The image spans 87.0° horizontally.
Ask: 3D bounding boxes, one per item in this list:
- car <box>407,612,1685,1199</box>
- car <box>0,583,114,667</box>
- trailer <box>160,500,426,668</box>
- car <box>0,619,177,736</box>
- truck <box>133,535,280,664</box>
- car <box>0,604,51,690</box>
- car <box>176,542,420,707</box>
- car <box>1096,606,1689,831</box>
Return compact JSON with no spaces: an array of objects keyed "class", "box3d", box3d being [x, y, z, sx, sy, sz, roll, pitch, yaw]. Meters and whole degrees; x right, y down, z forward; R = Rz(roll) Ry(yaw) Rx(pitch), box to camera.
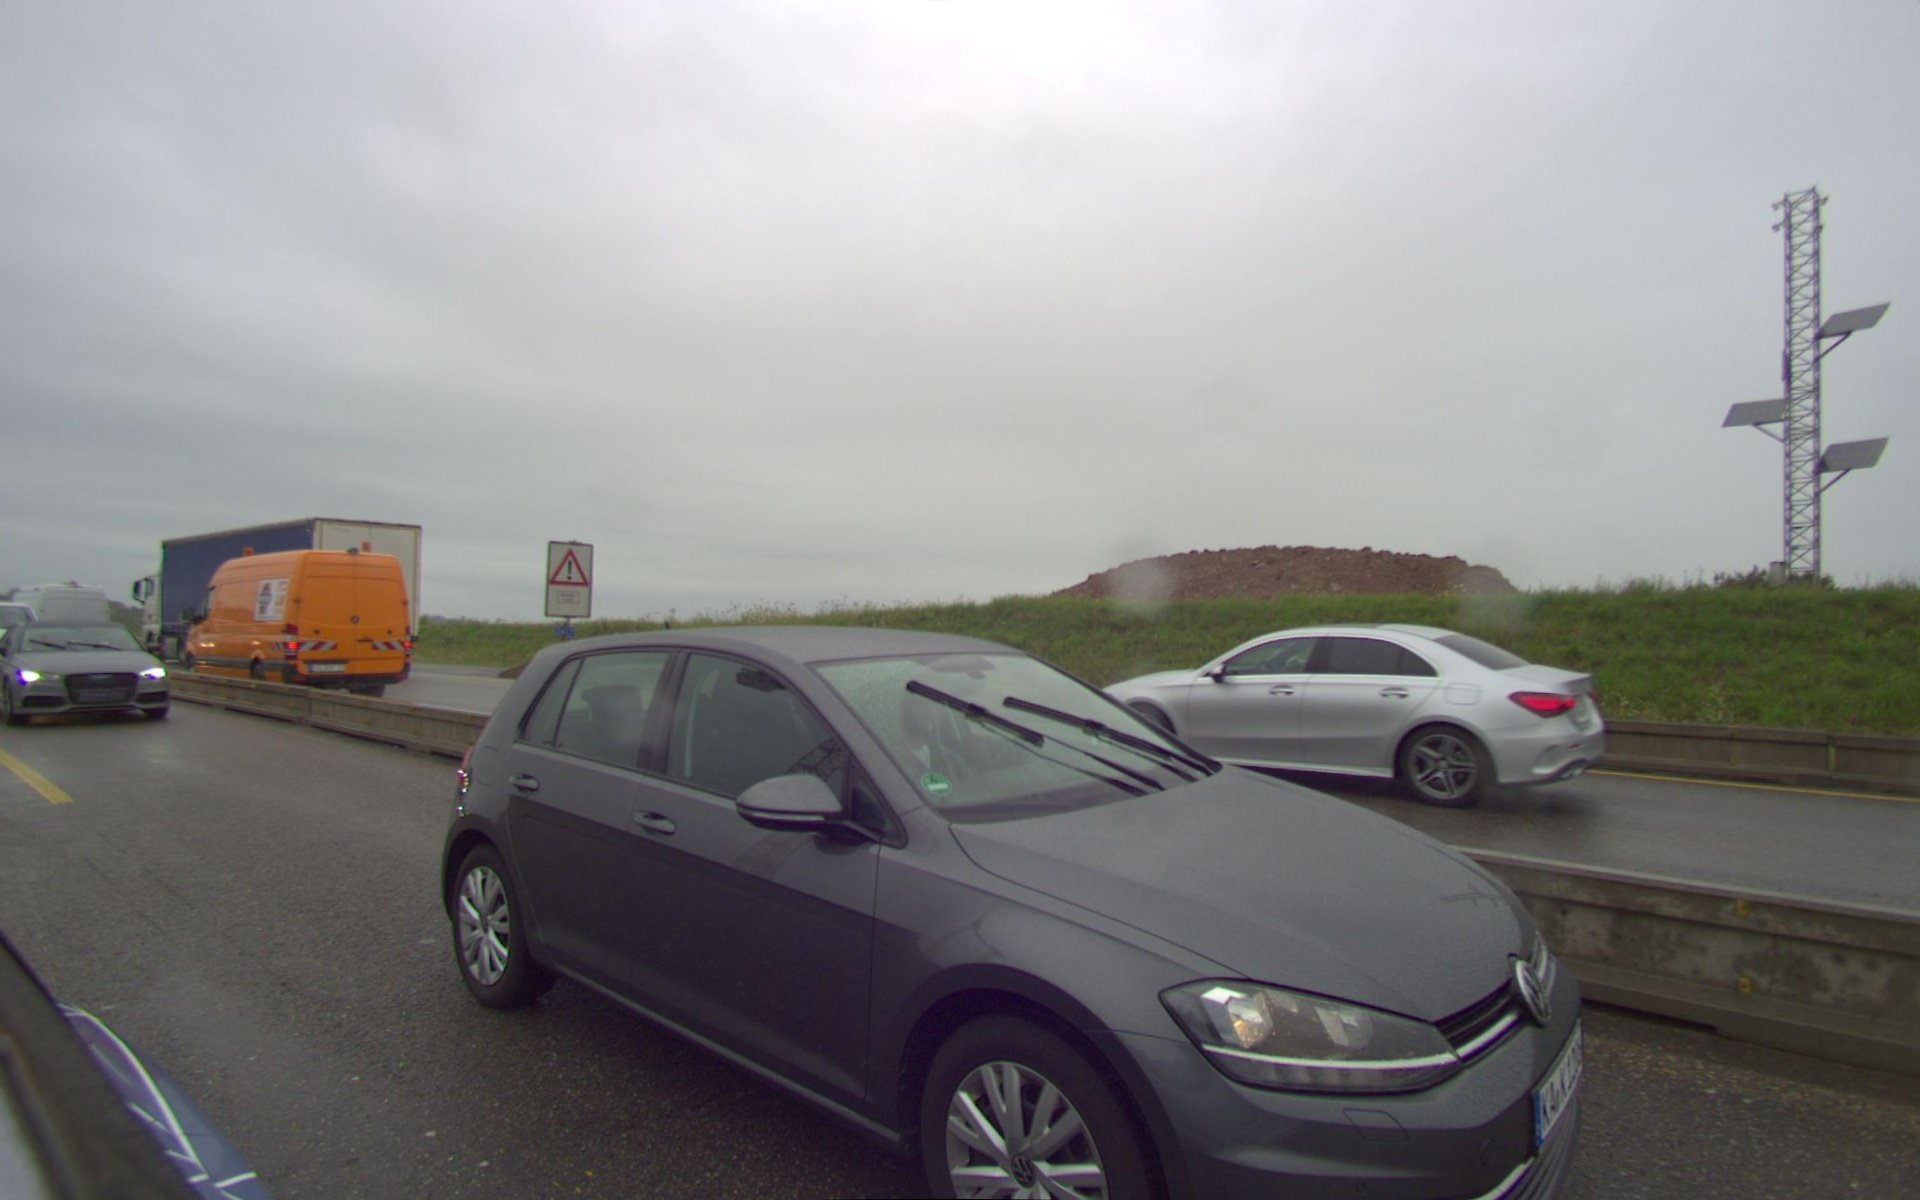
[{"class":"car","box3d":[-0.163,0.771,3.373,4.078,1.433,1.632,0,-1,41]},{"class":"car","box3d":[-31.499,0.899,35.212,6.877,2.674,1.986,-2,-1,40]},{"class":"trailer","box3d":[-20.200,-0.214,29.979,13.728,4.065,2.751,-2,-1,40]},{"class":"car","box3d":[-13.151,1.025,14.905,4.267,1.407,1.776,0,0,41]},{"class":"truck","box3d":[-25.991,0.044,34.824,5.814,4.065,2.760,-2,-1,40]},{"class":"car","box3d":[-23.071,1.026,23.621,5.177,1.873,2.133,0,0,41]},{"class":"car","box3d":[-12.619,0.453,19.001,7.017,2.597,2.032,-2,-1,41]},{"class":"car","box3d":[3.668,0.839,9.137,4.535,1.512,1.972,-1,-1,42]}]
